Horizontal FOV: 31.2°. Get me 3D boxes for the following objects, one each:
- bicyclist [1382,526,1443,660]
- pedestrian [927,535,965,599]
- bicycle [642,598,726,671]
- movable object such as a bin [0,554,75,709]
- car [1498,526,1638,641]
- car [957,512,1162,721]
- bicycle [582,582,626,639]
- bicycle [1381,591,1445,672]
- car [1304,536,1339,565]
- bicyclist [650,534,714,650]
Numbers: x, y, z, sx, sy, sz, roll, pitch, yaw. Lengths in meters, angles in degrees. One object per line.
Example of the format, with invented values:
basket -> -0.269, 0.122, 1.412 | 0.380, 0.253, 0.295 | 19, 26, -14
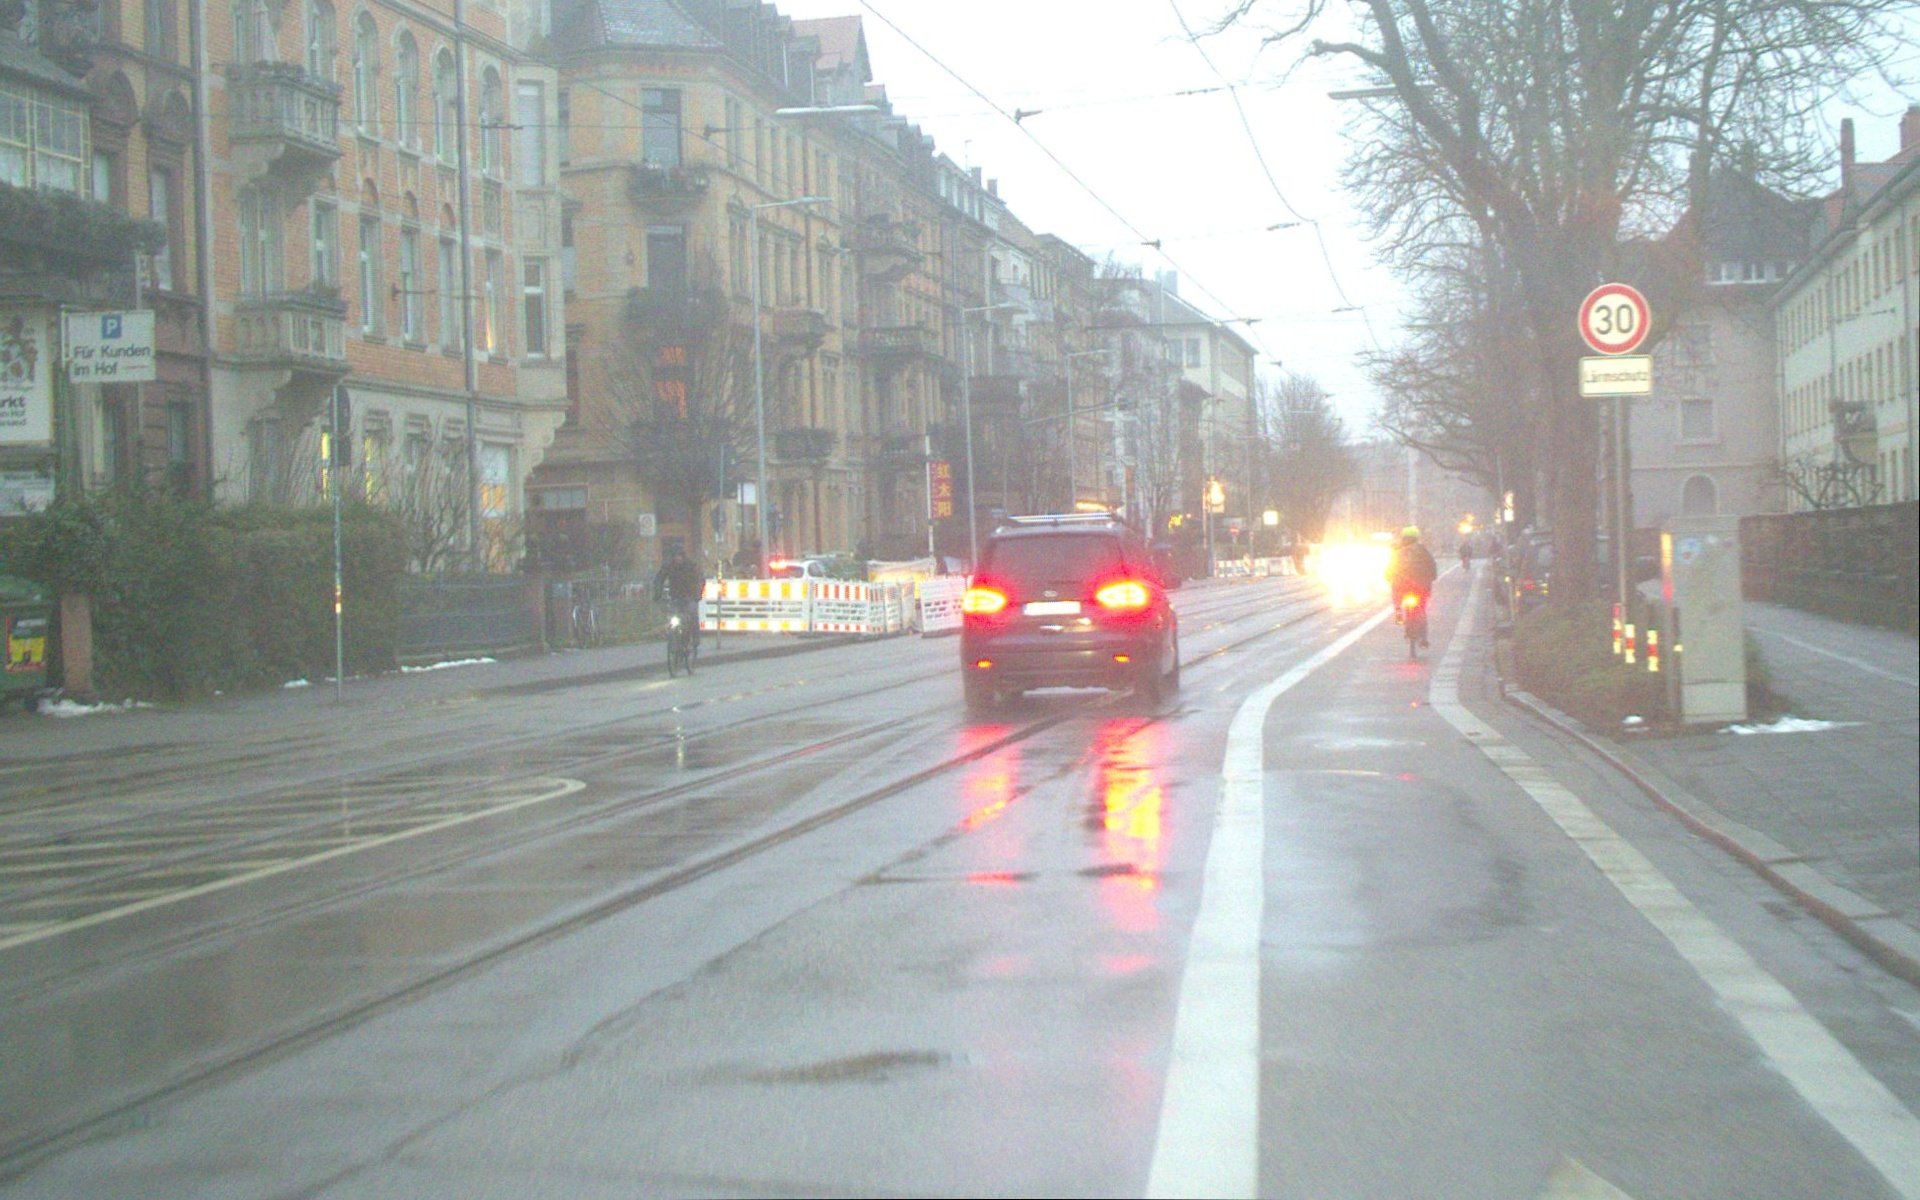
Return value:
bicyclist -> 5.931, -0.093, 45.050 | 0.731, 1.730, 0.765 | -1, 1, 10
pedestrian -> -0.392, -0.916, 96.293 | 0.718, 1.767, 0.770 | -2, 1, -31
bicycle -> -3.874, 0.478, 48.391 | 0.678, 0.969, 1.932 | -1, 1, 10
movable object such as a bin -> -10.148, 0.321, 35.938 | 1.245, 1.580, 1.307 | -1, 1, 14
car -> 8.576, -0.259, 48.706 | 1.786, 1.504, 3.986 | -2, 1, 8
car -> 1.023, 0.107, 33.281 | 1.802, 1.864, 4.018 | 1, 1, 4
bicycle -> -5.993, 0.171, 57.871 | 0.263, 0.912, 1.685 | 4, 2, 9
bicycle -> 5.957, 0.400, 45.121 | 0.732, 1.003, 1.763 | -1, 1, 10
car -> 22.666, -3.114, 215.393 | 1.924, 1.714, 3.999 | -2, 1, 9
bicyclist -> -3.899, -0.116, 48.255 | 0.684, 1.610, 0.765 | -1, 1, 10
